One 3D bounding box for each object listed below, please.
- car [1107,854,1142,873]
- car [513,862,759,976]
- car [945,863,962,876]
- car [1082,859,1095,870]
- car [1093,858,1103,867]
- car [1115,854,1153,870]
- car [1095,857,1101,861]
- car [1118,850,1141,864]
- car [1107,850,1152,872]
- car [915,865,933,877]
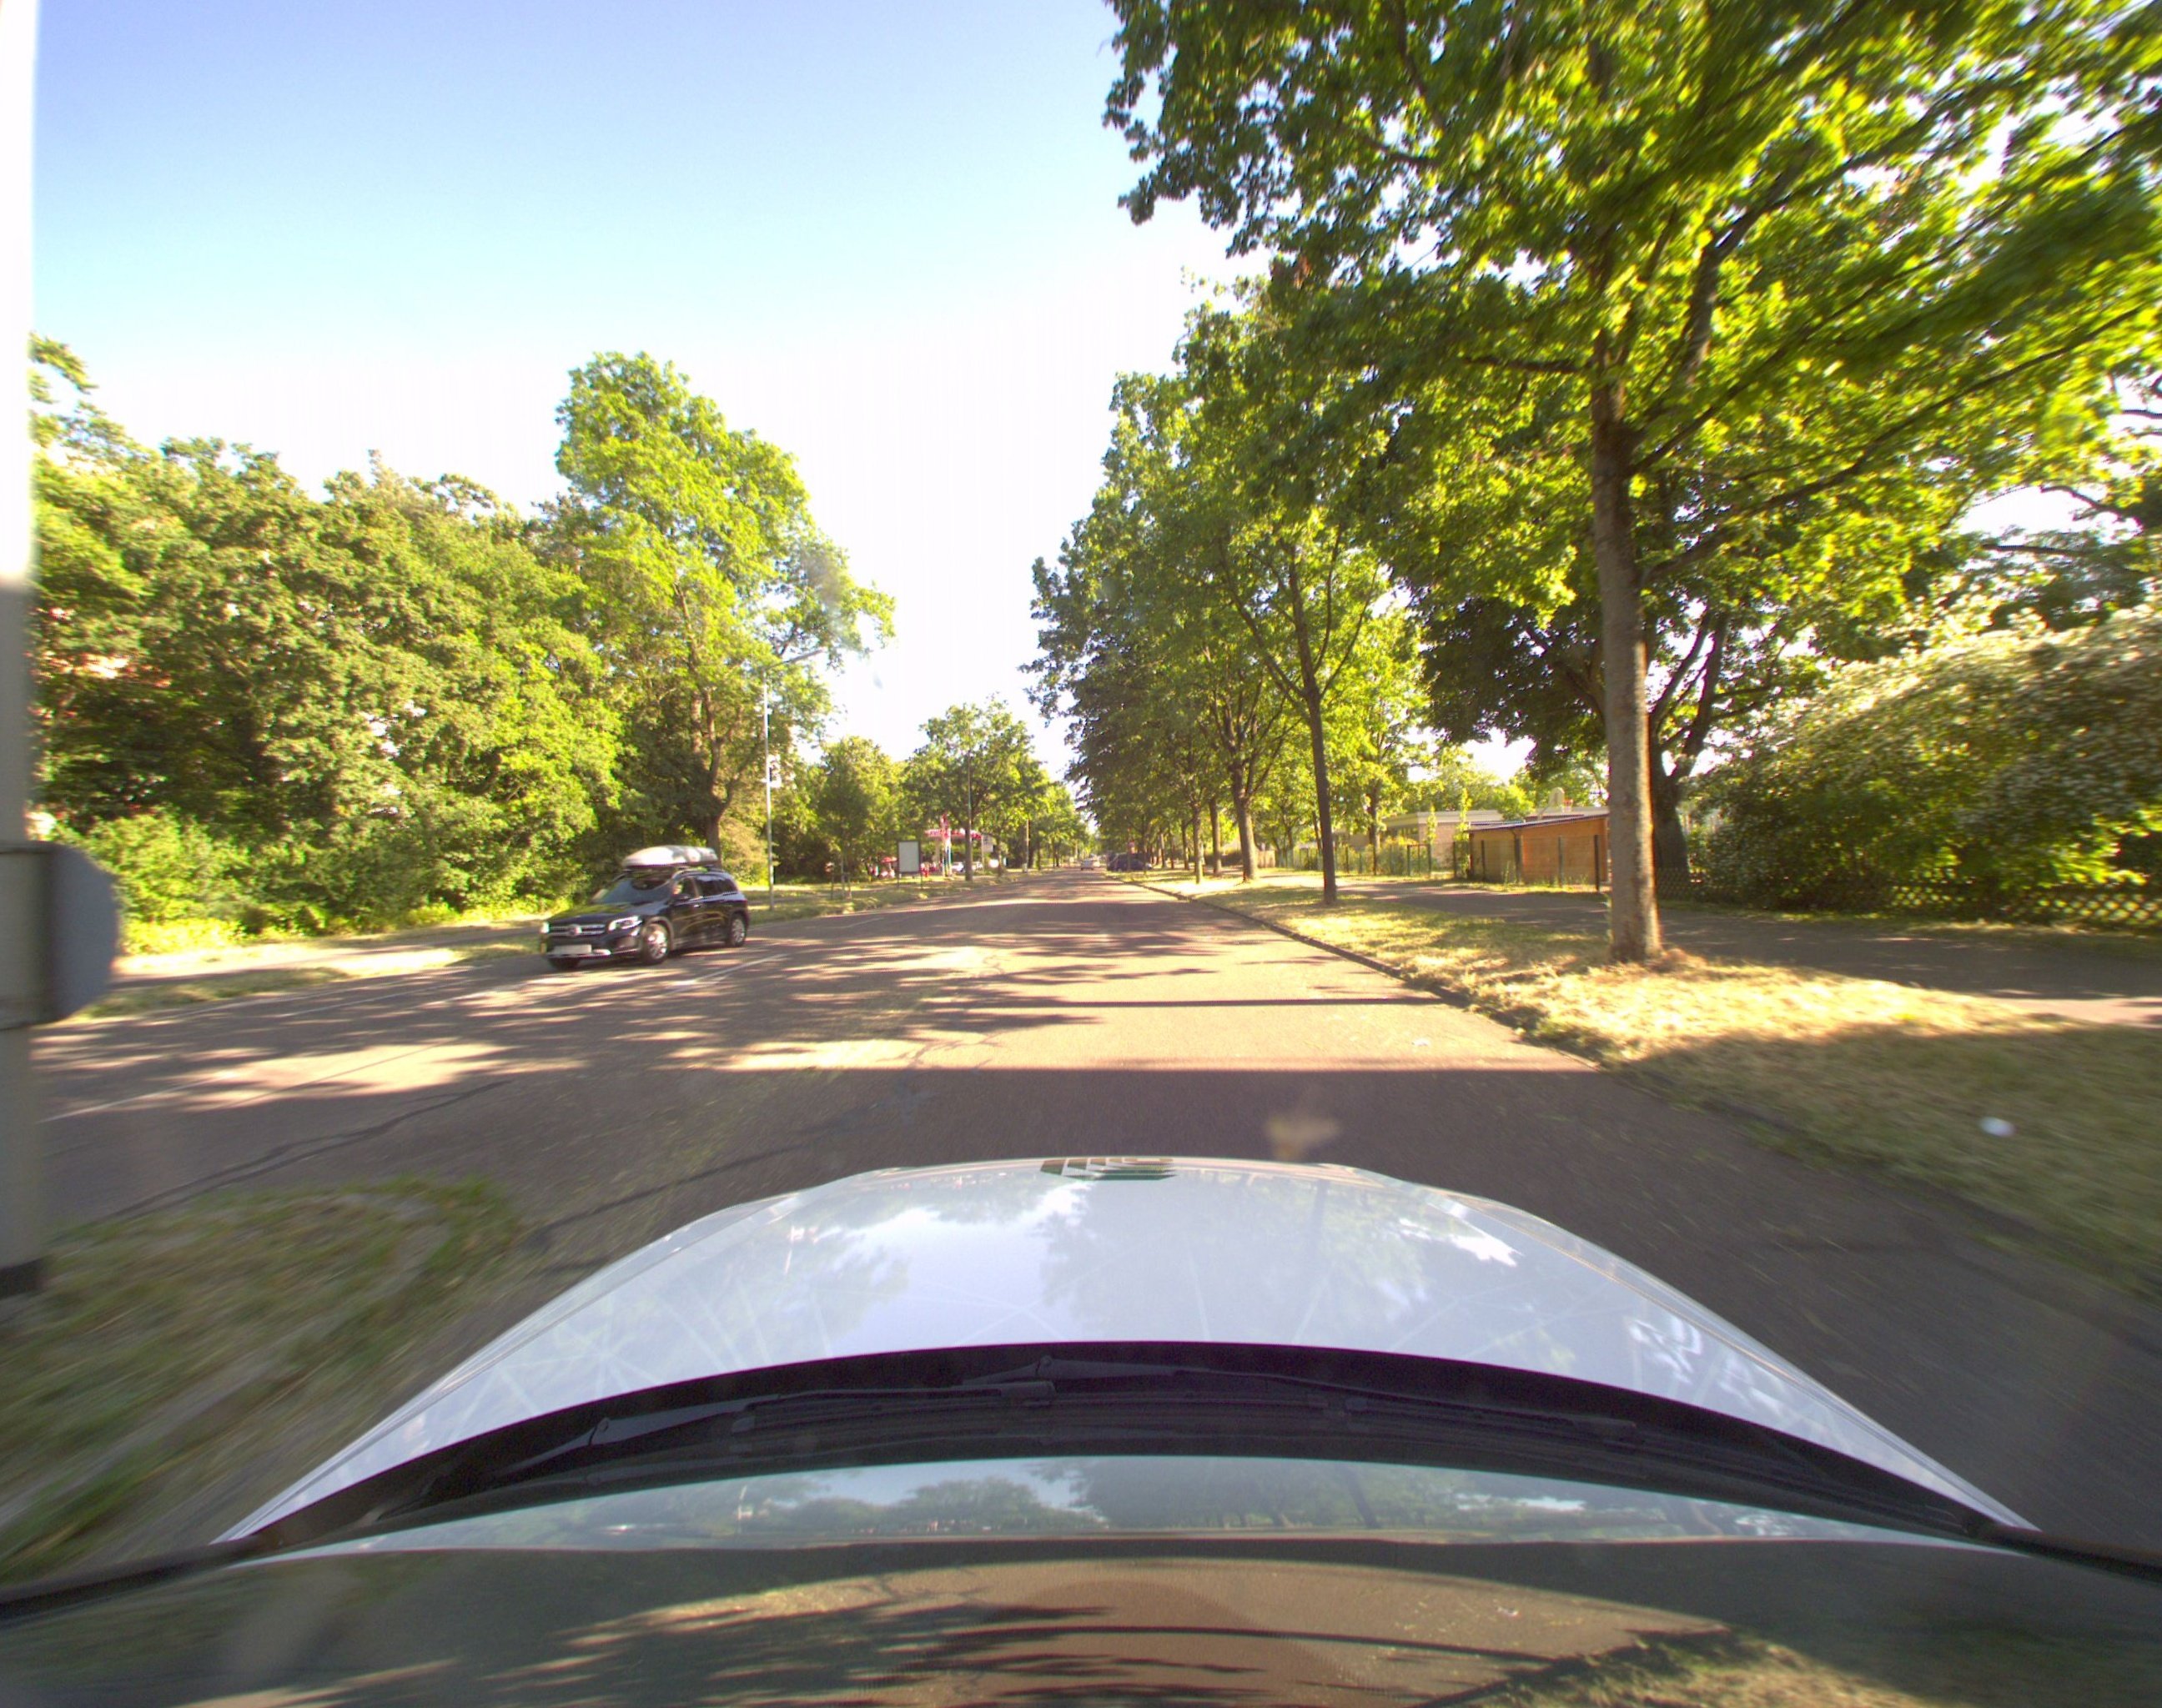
[{"bbox_3d":[4.560,1.018,85.731,3.641,1.797,1.317,-3,-2,0],"label":"car"},{"bbox_3d":[-8.021,1.062,15.290,1.831,1.708,4.509,-3,0,4],"label":"car"},{"bbox_3d":[-18.562,2.247,118.434,1.796,1.823,3.803,-3,-2,-1],"label":"car"},{"bbox_3d":[1.018,1.474,113.019,1.655,1.337,3.664,-3,-2,0],"label":"car"},{"bbox_3d":[2.805,1.406,137.108,1.655,1.337,3.664,-3,-2,0],"label":"car"},{"bbox_3d":[5.208,0.803,80.265,3.641,1.398,1.317,-3,-2,0],"label":"car"},{"bbox_3d":[5.499,1.609,262.245,1.655,1.337,3.664,-3,-2,0],"label":"car"},{"bbox_3d":[7.778,0.485,131.925,3.555,2.051,1.632,-3,-3,0],"label":"car"},{"bbox_3d":[4.918,0.703,83.248,4.488,1.953,1.687,-3,-2,0],"label":"car"},{"bbox_3d":[-23.321,2.548,121.057,1.795,1.621,3.804,-3,-2,0],"label":"car"}]
